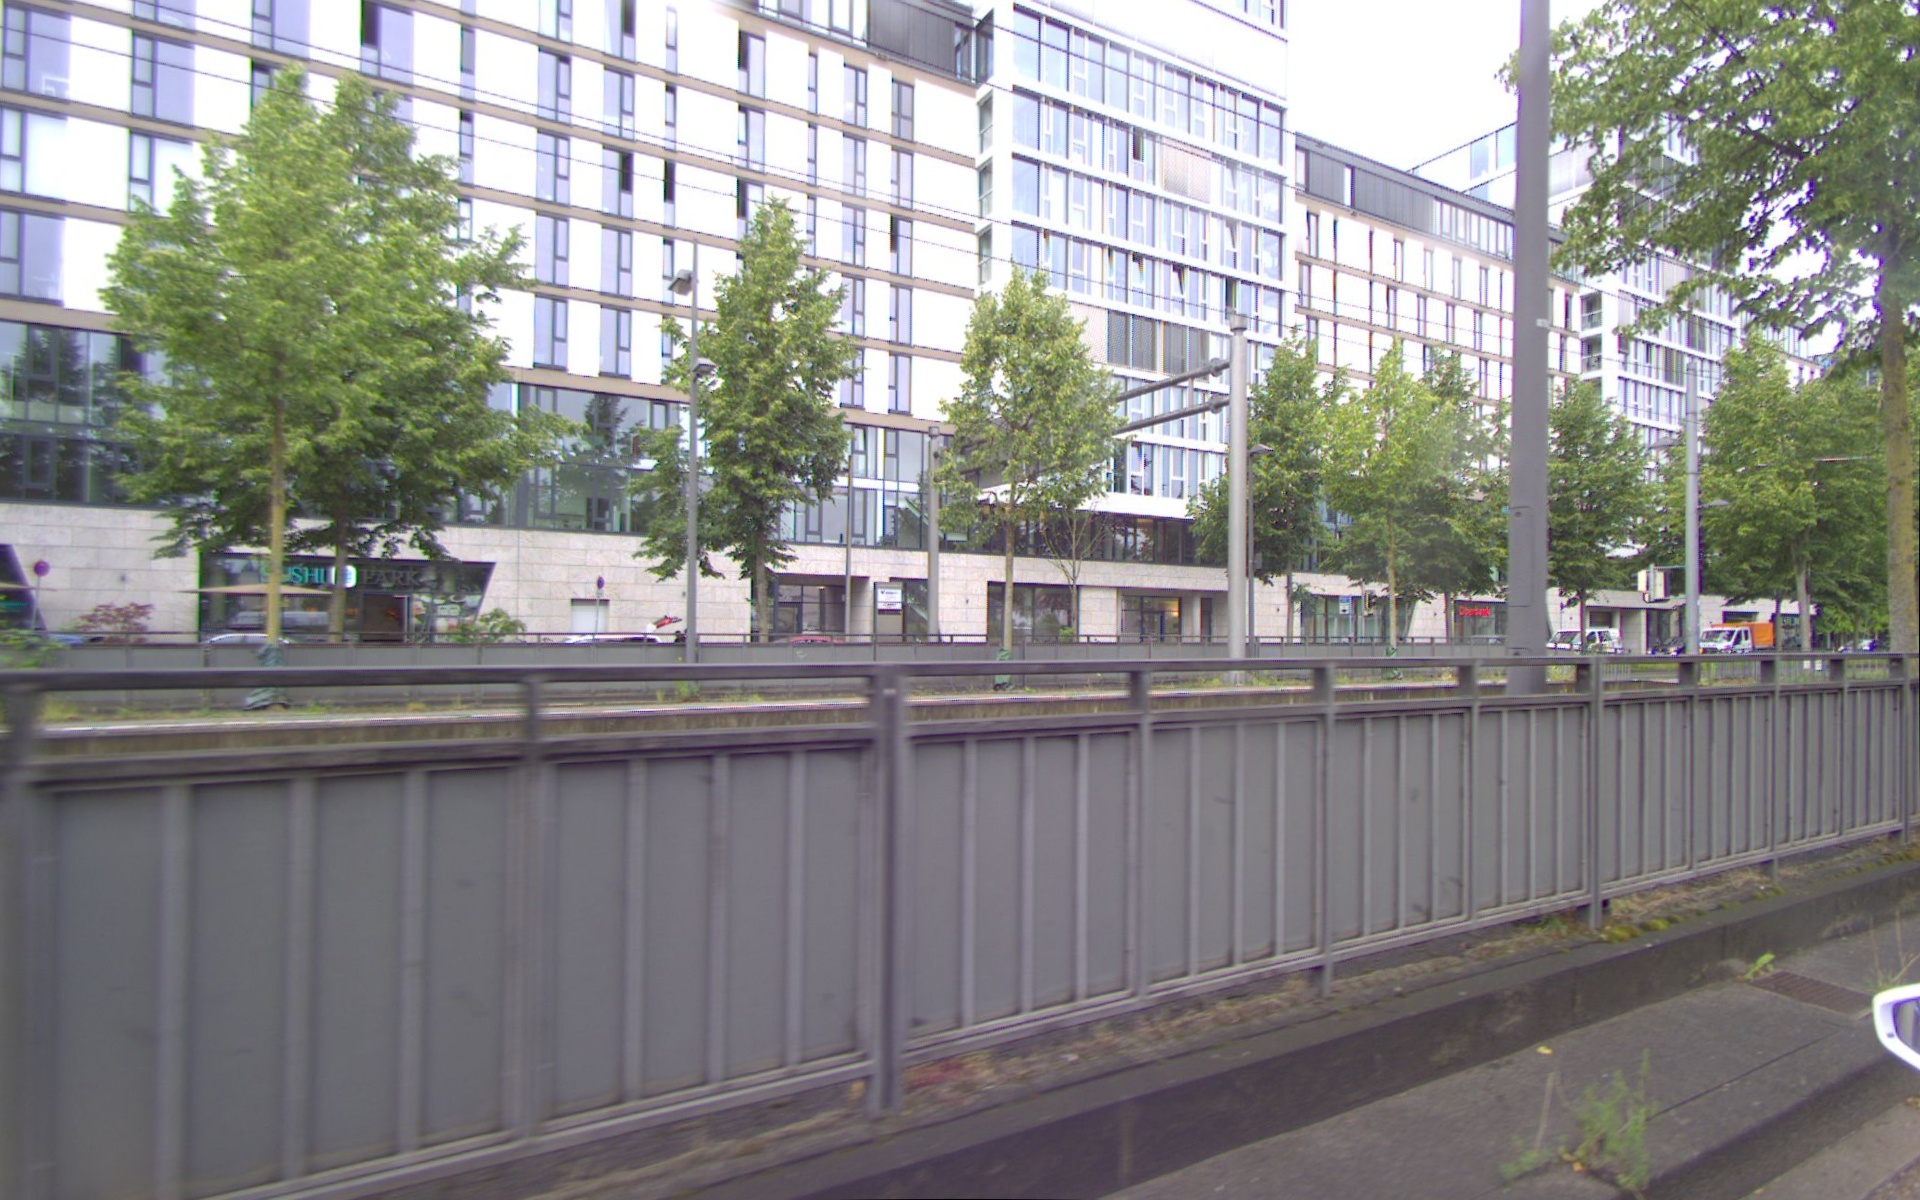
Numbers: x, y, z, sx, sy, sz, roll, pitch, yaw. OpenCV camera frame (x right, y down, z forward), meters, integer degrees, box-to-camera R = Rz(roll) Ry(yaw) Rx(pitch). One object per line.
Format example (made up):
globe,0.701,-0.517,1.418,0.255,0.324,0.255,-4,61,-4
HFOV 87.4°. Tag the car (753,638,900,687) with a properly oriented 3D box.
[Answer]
car,-3.909,1.802,29.425,3.812,1.305,1.985,1,-2,-29

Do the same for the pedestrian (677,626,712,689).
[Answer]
pedestrian,-7.378,1.586,27.933,0.782,1.714,0.708,1,-1,-27

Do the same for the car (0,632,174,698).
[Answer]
car,-19.387,1.366,21.435,3.815,1.305,1.984,2,-2,-30

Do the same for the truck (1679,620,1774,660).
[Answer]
truck,45.932,2.370,60.146,6.235,2.322,2.415,1,-1,-31

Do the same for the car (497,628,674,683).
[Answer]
car,-9.638,1.417,25.872,4.020,1.305,1.985,2,-2,-29

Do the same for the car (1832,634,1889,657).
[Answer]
car,61.210,3.072,68.269,3.942,1.484,1.846,1,-2,-31

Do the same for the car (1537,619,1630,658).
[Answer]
car,31.942,1.951,51.421,5.105,1.876,1.984,1,-1,-31

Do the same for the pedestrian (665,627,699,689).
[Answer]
pedestrian,-7.896,1.632,28.529,0.782,1.714,0.708,1,-1,-27

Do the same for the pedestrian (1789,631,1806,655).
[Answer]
pedestrian,71.068,3.682,85.223,0.843,2.007,0.793,1,-1,-22

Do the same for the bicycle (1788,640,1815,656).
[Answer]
bicycle,50.243,2.850,59.978,1.734,0.957,0.597,1,-1,-27

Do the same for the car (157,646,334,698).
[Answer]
car,-20.032,1.990,28.390,3.812,1.305,1.985,1,-2,-29
